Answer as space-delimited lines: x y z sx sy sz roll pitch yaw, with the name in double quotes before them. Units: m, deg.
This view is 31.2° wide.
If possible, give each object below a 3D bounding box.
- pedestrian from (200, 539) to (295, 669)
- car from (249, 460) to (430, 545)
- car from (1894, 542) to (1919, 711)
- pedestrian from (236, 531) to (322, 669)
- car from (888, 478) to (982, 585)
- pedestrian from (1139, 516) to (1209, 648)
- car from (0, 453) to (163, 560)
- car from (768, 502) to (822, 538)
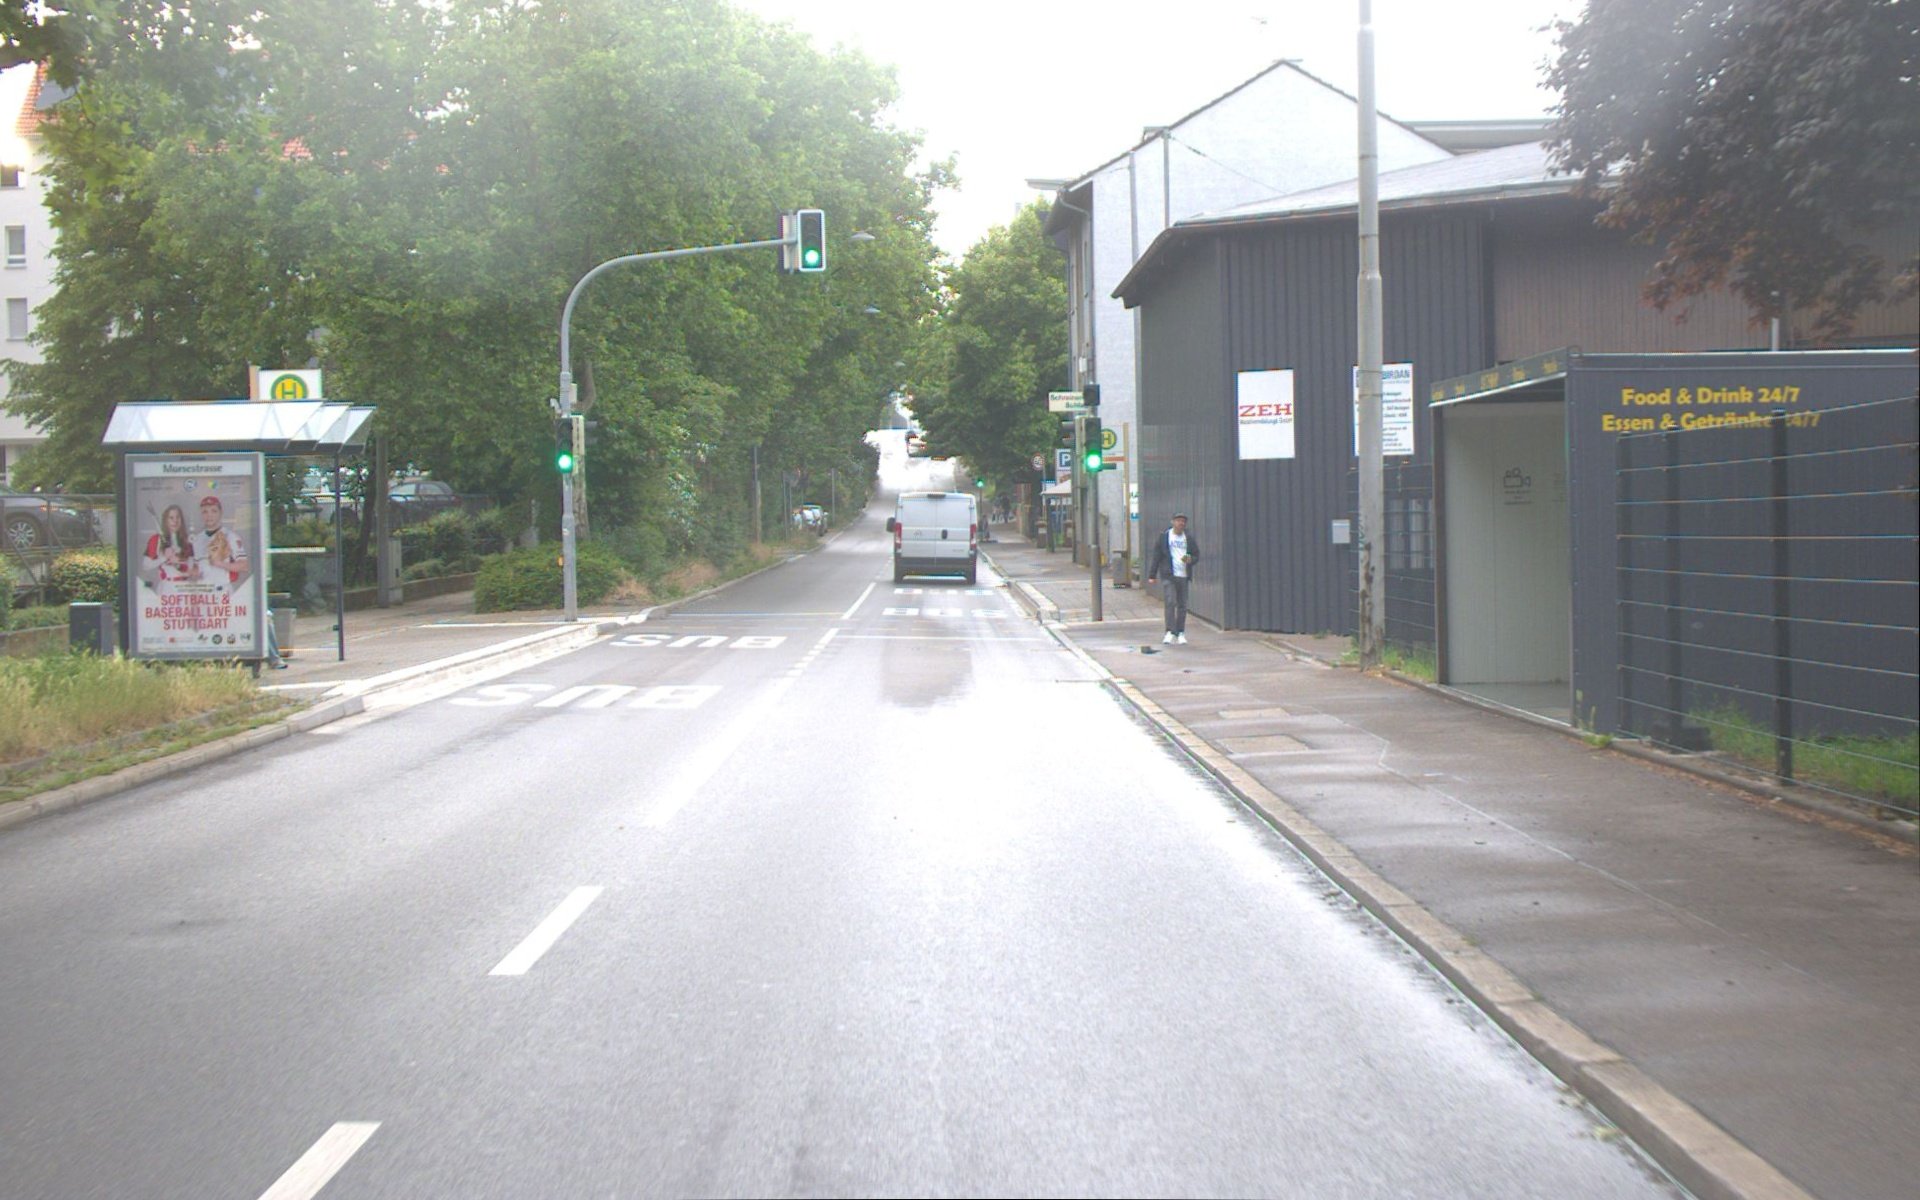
"pedestrian" -7.376 0.043 35.618 0.775 1.312 0.641 -2 0 3
"car" -15.200 -2.388 84.316 4.167 2.007 1.719 1 1 -3
"car" 10.036 0.258 28.667 3.987 1.418 1.785 1 0 1
"pedestrian" -7.212 0.000 36.443 0.688 1.413 0.641 -3 -1 3
"car" -0.604 -1.670 85.324 2.282 2.544 4.000 0 0 0
"pedestrian" 2.793 -0.237 44.963 0.742 1.698 0.902 1 0 -6
"car" -15.607 -1.538 56.492 4.545 1.666 2.000 1 0 -1
"car" -7.901 -3.843 165.194 2.215 1.587 4.609 1 0 2
